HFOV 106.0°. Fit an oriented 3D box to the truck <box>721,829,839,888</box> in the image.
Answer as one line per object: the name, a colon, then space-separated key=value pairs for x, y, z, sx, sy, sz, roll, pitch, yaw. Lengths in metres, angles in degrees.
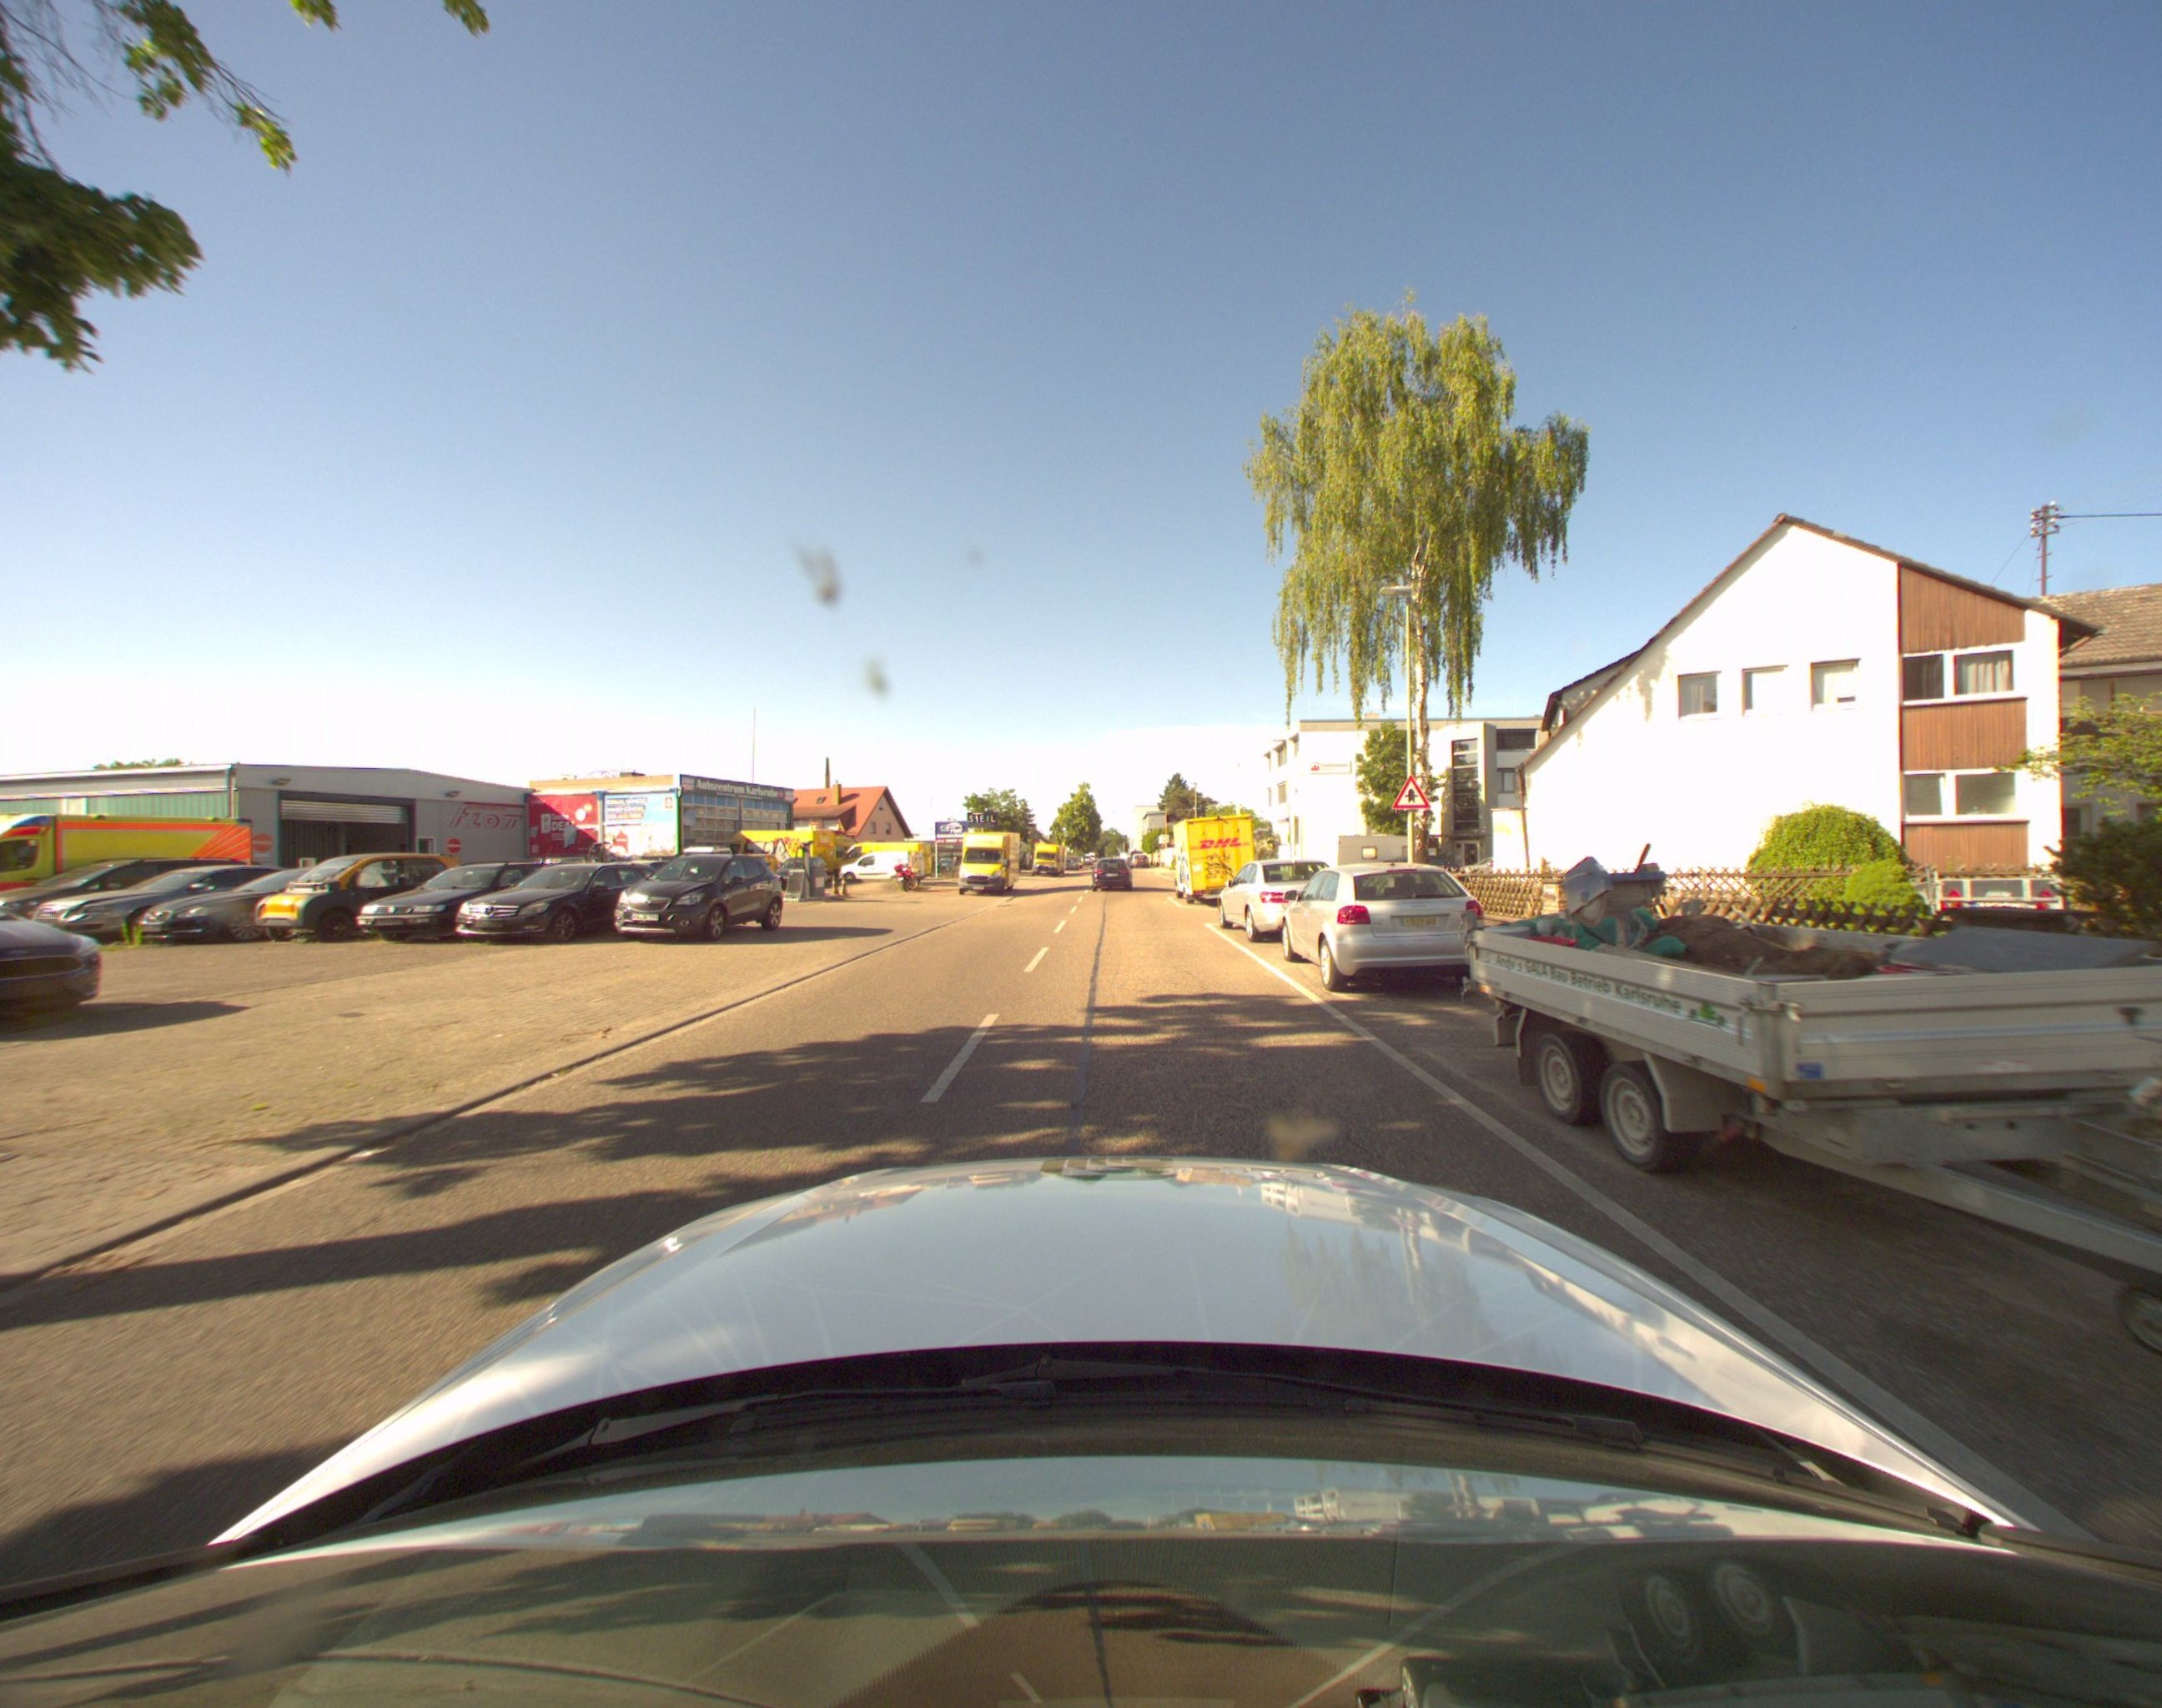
truck: x=-16.781 y=0.195 z=45.504 sx=5.629 sy=3.119 sz=2.532 roll=1 pitch=0 yaw=13

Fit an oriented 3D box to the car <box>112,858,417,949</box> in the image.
car: x=-16.850 y=0.938 z=17.155 sx=1.764 sy=1.545 sz=4.180 roll=-1 pitch=1 yaw=13

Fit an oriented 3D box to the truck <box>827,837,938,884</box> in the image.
truck: x=-11.495 y=0.361 z=47.303 sx=5.880 sy=2.567 sz=2.232 roll=1 pitch=0 yaw=13

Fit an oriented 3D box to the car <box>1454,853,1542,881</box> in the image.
car: x=25.677 y=0.771 z=50.280 sx=4.492 sy=1.618 sz=1.801 roll=-1 pitch=0 yaw=2

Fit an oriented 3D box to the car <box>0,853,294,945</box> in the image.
car: x=-21.161 y=0.926 z=18.637 sx=1.764 sy=1.748 sz=4.180 roll=-1 pitch=1 yaw=13

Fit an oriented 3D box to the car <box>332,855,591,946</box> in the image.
car: x=-12.220 y=0.892 z=16.514 sx=1.854 sy=1.590 sz=4.277 roll=-1 pitch=-2 yaw=2

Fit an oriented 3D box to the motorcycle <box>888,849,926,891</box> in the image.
motorcycle: x=-8.208 y=0.728 z=38.593 sx=0.777 sy=1.873 sz=3.046 roll=2 pitch=1 yaw=7

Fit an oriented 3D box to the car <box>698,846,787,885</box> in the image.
car: x=-16.775 y=0.542 z=40.580 sx=1.979 sy=1.816 sz=4.015 roll=1 pitch=0 yaw=14

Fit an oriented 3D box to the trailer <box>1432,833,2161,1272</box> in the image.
trailer: x=3.358 y=0.699 z=4.473 sx=1.620 sy=1.538 sz=3.201 roll=-1 pitch=0 yaw=3

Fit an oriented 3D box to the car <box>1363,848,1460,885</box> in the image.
car: x=15.213 y=0.553 z=37.477 sx=4.002 sy=1.618 sz=1.798 roll=-1 pitch=0 yaw=-22

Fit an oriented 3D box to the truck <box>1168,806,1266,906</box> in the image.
truck: x=4.552 y=0.084 z=28.576 sx=2.393 sy=2.936 sz=7.020 roll=-3 pitch=0 yaw=2

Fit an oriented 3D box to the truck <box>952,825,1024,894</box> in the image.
truck: x=-4.279 y=0.245 z=38.899 sx=2.394 sy=2.983 sz=7.247 roll=1 pitch=0 yaw=1

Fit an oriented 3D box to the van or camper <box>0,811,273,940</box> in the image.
van or camper: x=-23.489 y=0.461 z=19.070 sx=2.150 sy=2.715 sz=6.291 roll=-1 pitch=0 yaw=13

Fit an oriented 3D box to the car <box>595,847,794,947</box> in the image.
car: x=-7.659 y=0.771 z=16.677 sx=1.854 sy=1.714 sz=4.278 roll=2 pitch=0 yaw=2

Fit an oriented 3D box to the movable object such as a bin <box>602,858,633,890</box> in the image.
movable object such as a bin: x=-21.913 y=0.944 z=38.525 sx=0.533 sy=1.452 sz=1.305 roll=-1 pitch=0 yaw=13

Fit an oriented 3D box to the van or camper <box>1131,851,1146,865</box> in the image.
van or camper: x=8.051 y=0.559 z=114.008 sx=1.911 sy=2.019 sz=4.082 roll=-1 pitch=0 yaw=2

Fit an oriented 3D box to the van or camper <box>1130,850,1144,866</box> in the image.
van or camper: x=8.214 y=0.556 z=119.603 sx=1.986 sy=2.310 sz=4.002 roll=-1 pitch=0 yaw=2

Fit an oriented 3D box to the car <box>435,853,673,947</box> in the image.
car: x=-10.214 y=0.803 z=16.261 sx=1.854 sy=1.590 sz=4.278 roll=-1 pitch=0 yaw=2

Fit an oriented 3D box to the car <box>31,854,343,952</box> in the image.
car: x=-19.129 y=0.947 z=17.749 sx=1.764 sy=1.748 sz=4.180 roll=-1 pitch=1 yaw=13

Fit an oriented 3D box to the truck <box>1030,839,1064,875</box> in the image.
truck: x=-2.874 y=0.267 z=70.340 sx=2.393 sy=2.983 sz=6.378 roll=1 pitch=0 yaw=3

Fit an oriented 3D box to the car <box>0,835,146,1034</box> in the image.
car: x=-11.491 y=0.737 z=7.463 sx=4.225 sy=1.728 sz=1.770 roll=-1 pitch=0 yaw=8

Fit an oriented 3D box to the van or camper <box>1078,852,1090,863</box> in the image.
van or camper: x=0.606 y=0.718 z=179.766 sx=2.317 sy=2.362 sz=6.524 roll=-1 pitch=0 yaw=-2

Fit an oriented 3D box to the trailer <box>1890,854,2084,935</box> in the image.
trailer: x=13.599 y=0.557 z=12.374 sx=1.634 sy=1.072 sz=2.199 roll=-1 pitch=0 yaw=39

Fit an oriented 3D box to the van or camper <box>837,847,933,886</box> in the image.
van or camper: x=-10.647 y=0.647 z=44.360 sx=4.517 sy=2.013 sz=2.256 roll=-1 pitch=0 yaw=8

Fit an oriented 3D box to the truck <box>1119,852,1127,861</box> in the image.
truck: x=11.043 y=0.638 z=213.477 sx=1.985 sy=2.287 sz=6.959 roll=-1 pitch=0 yaw=2

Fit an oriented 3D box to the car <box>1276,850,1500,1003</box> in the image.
car: x=3.573 y=0.724 z=10.249 sx=1.666 sy=1.542 sz=4.049 roll=0 pitch=0 yaw=6

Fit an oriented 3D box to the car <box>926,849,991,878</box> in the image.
car: x=-8.801 y=0.694 z=58.710 sx=4.221 sy=2.013 sz=1.874 roll=-1 pitch=0 yaw=10

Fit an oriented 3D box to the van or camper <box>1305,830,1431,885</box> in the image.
van or camper: x=14.151 y=0.137 z=40.167 sx=5.837 sy=2.541 sz=2.273 roll=-1 pitch=0 yaw=-23

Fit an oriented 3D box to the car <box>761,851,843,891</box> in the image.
car: x=-13.521 y=0.767 z=39.755 sx=1.853 sy=1.562 sz=4.228 roll=0 pitch=4 yaw=12

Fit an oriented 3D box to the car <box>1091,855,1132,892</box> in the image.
car: x=1.395 y=0.831 z=36.579 sx=1.704 sy=1.532 sz=3.691 roll=-1 pitch=0 yaw=3

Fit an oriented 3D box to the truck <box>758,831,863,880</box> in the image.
truck: x=-17.137 y=0.097 z=51.654 sx=6.047 sy=2.972 sz=2.182 roll=-1 pitch=0 yaw=15

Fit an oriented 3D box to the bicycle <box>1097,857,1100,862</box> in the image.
bicycle: x=4.325 y=1.294 z=204.808 sx=0.826 sy=1.153 sz=2.941 roll=-1 pitch=0 yaw=1

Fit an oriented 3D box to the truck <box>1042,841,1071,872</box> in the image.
truck: x=-2.336 y=0.238 z=79.163 sx=2.183 sy=2.902 sz=6.444 roll=1 pitch=0 yaw=3

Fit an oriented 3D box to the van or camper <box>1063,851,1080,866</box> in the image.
van or camper: x=-1.244 y=0.587 z=108.970 sx=1.883 sy=1.926 sz=4.269 roll=-2 pitch=-1 yaw=3

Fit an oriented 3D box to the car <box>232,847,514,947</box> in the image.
car: x=-14.553 y=0.781 z=17.109 sx=1.764 sy=1.748 sz=4.180 roll=-1 pitch=1 yaw=13

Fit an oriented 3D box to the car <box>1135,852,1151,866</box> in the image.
car: x=8.279 y=0.615 z=108.724 sx=1.911 sy=1.825 sz=4.082 roll=-1 pitch=0 yaw=2

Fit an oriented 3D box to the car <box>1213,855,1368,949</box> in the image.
car: x=3.865 y=0.798 z=15.863 sx=1.778 sy=1.542 sz=4.535 roll=-1 pitch=0 yaw=-1

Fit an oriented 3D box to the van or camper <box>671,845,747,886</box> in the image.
van or camper: x=-19.164 y=0.574 z=42.169 sx=1.852 sy=2.013 sz=4.004 roll=-1 pitch=0 yaw=4

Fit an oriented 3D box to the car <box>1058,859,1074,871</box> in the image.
car: x=-1.775 y=1.311 z=99.147 sx=1.751 sy=1.403 sz=4.557 roll=-1 pitch=0 yaw=1
